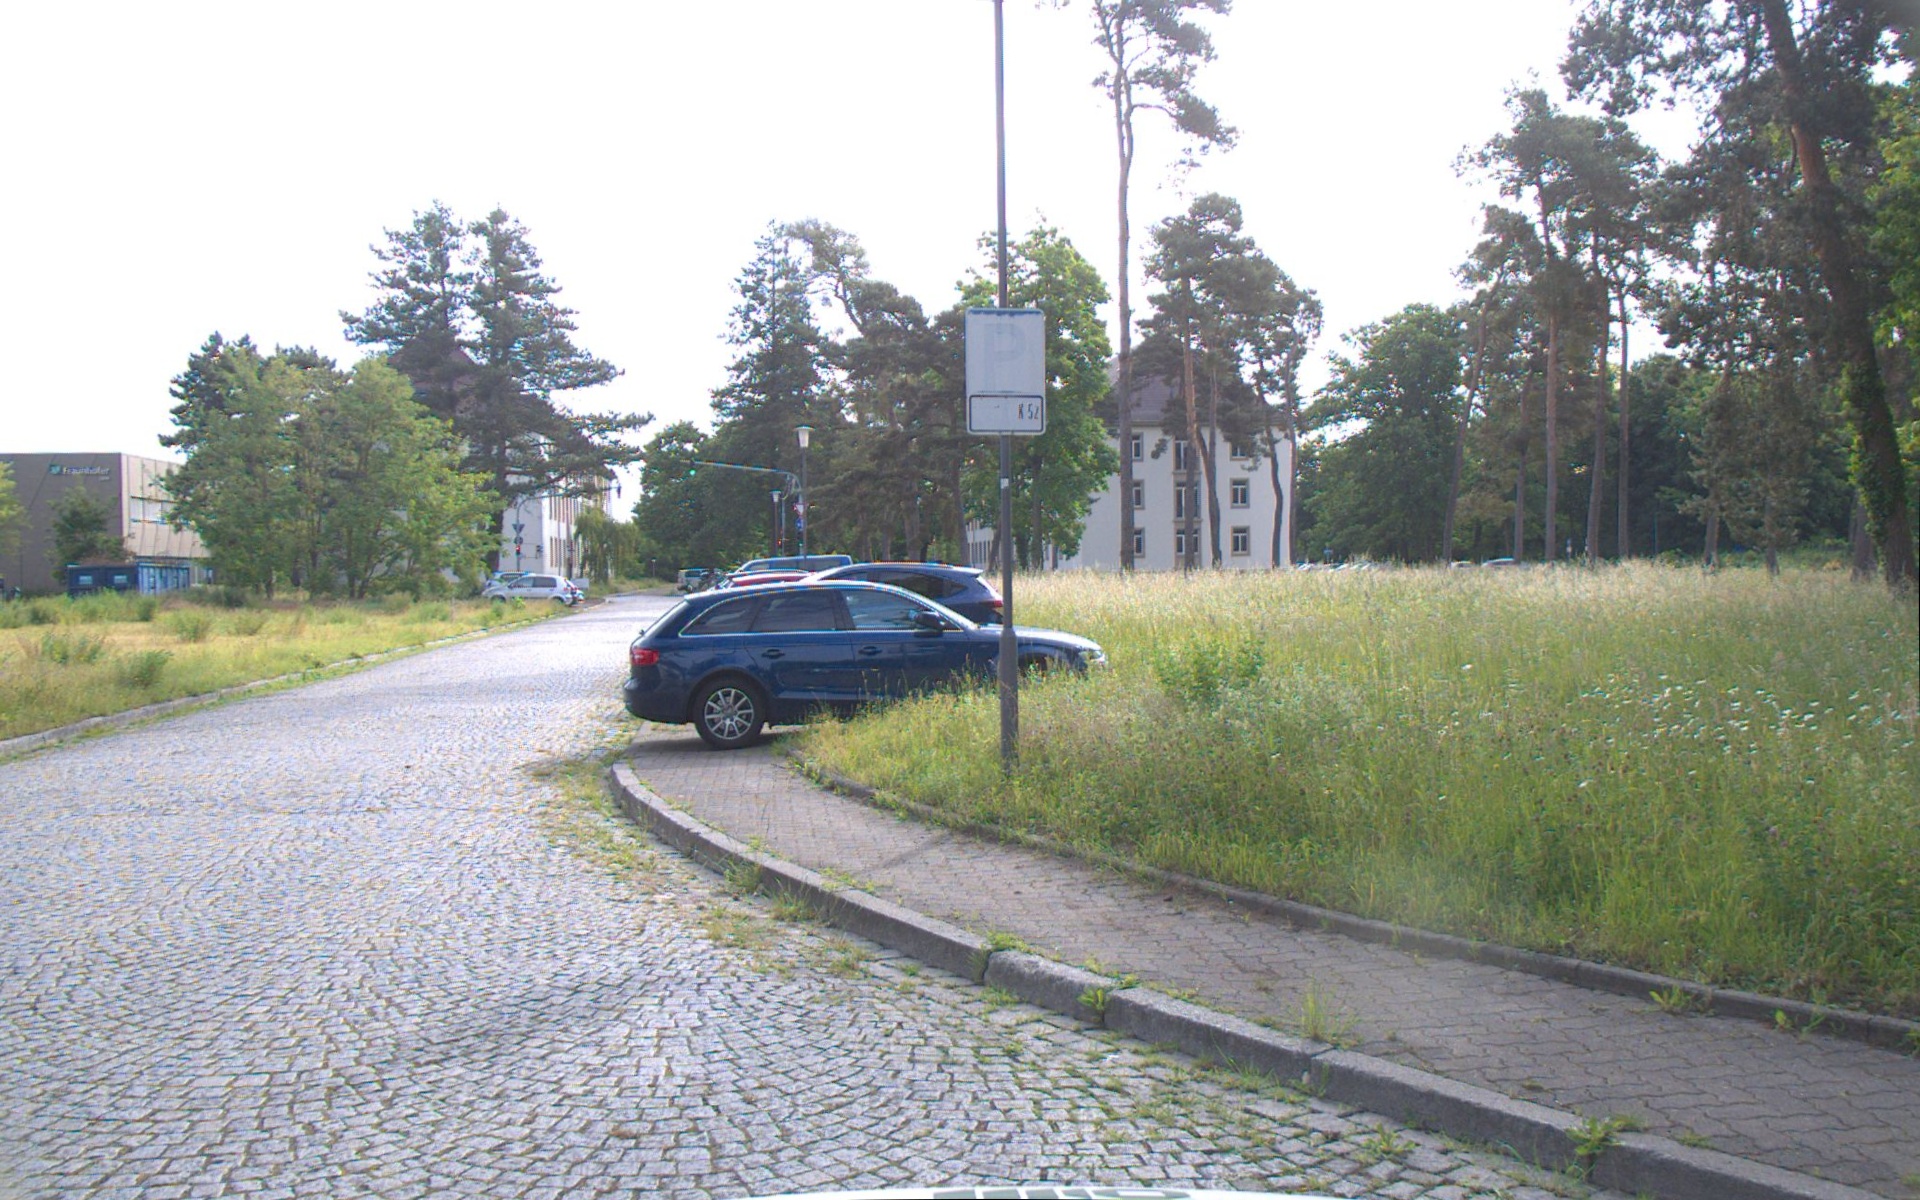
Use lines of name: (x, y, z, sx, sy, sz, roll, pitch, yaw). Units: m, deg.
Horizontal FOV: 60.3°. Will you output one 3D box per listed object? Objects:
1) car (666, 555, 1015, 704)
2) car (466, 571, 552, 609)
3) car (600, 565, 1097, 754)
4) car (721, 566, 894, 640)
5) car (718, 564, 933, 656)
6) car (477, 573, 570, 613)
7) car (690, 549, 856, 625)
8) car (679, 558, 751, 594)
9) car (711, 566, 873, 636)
car: (-1.495, 0.310, 20.274, 4.062, 1.600, 1.787, -2, 2, -9)
car: (-20.615, -0.480, 75.617, 3.660, 1.462, 1.620, -4, 2, -16)
car: (-1.019, 0.504, 15.466, 4.344, 1.505, 1.681, -2, 1, -5)
car: (-3.545, 0.062, 38.337, 3.867, 1.546, 1.704, -2, 0, -8)
car: (-2.517, 0.157, 30.598, 3.812, 1.504, 1.668, -2, 1, -9)
car: (-18.594, -0.301, 70.589, 3.655, 1.462, 1.622, -3, 2, -12)
car: (-5.622, -0.423, 49.499, 4.734, 1.897, 2.157, -4, 2, -10)
car: (-20.602, -2.019, 138.878, 5.683, 2.606, 2.761, -4, 2, -14)
car: (-4.169, 0.009, 40.865, 3.835, 1.631, 1.816, -1, 1, -11)
